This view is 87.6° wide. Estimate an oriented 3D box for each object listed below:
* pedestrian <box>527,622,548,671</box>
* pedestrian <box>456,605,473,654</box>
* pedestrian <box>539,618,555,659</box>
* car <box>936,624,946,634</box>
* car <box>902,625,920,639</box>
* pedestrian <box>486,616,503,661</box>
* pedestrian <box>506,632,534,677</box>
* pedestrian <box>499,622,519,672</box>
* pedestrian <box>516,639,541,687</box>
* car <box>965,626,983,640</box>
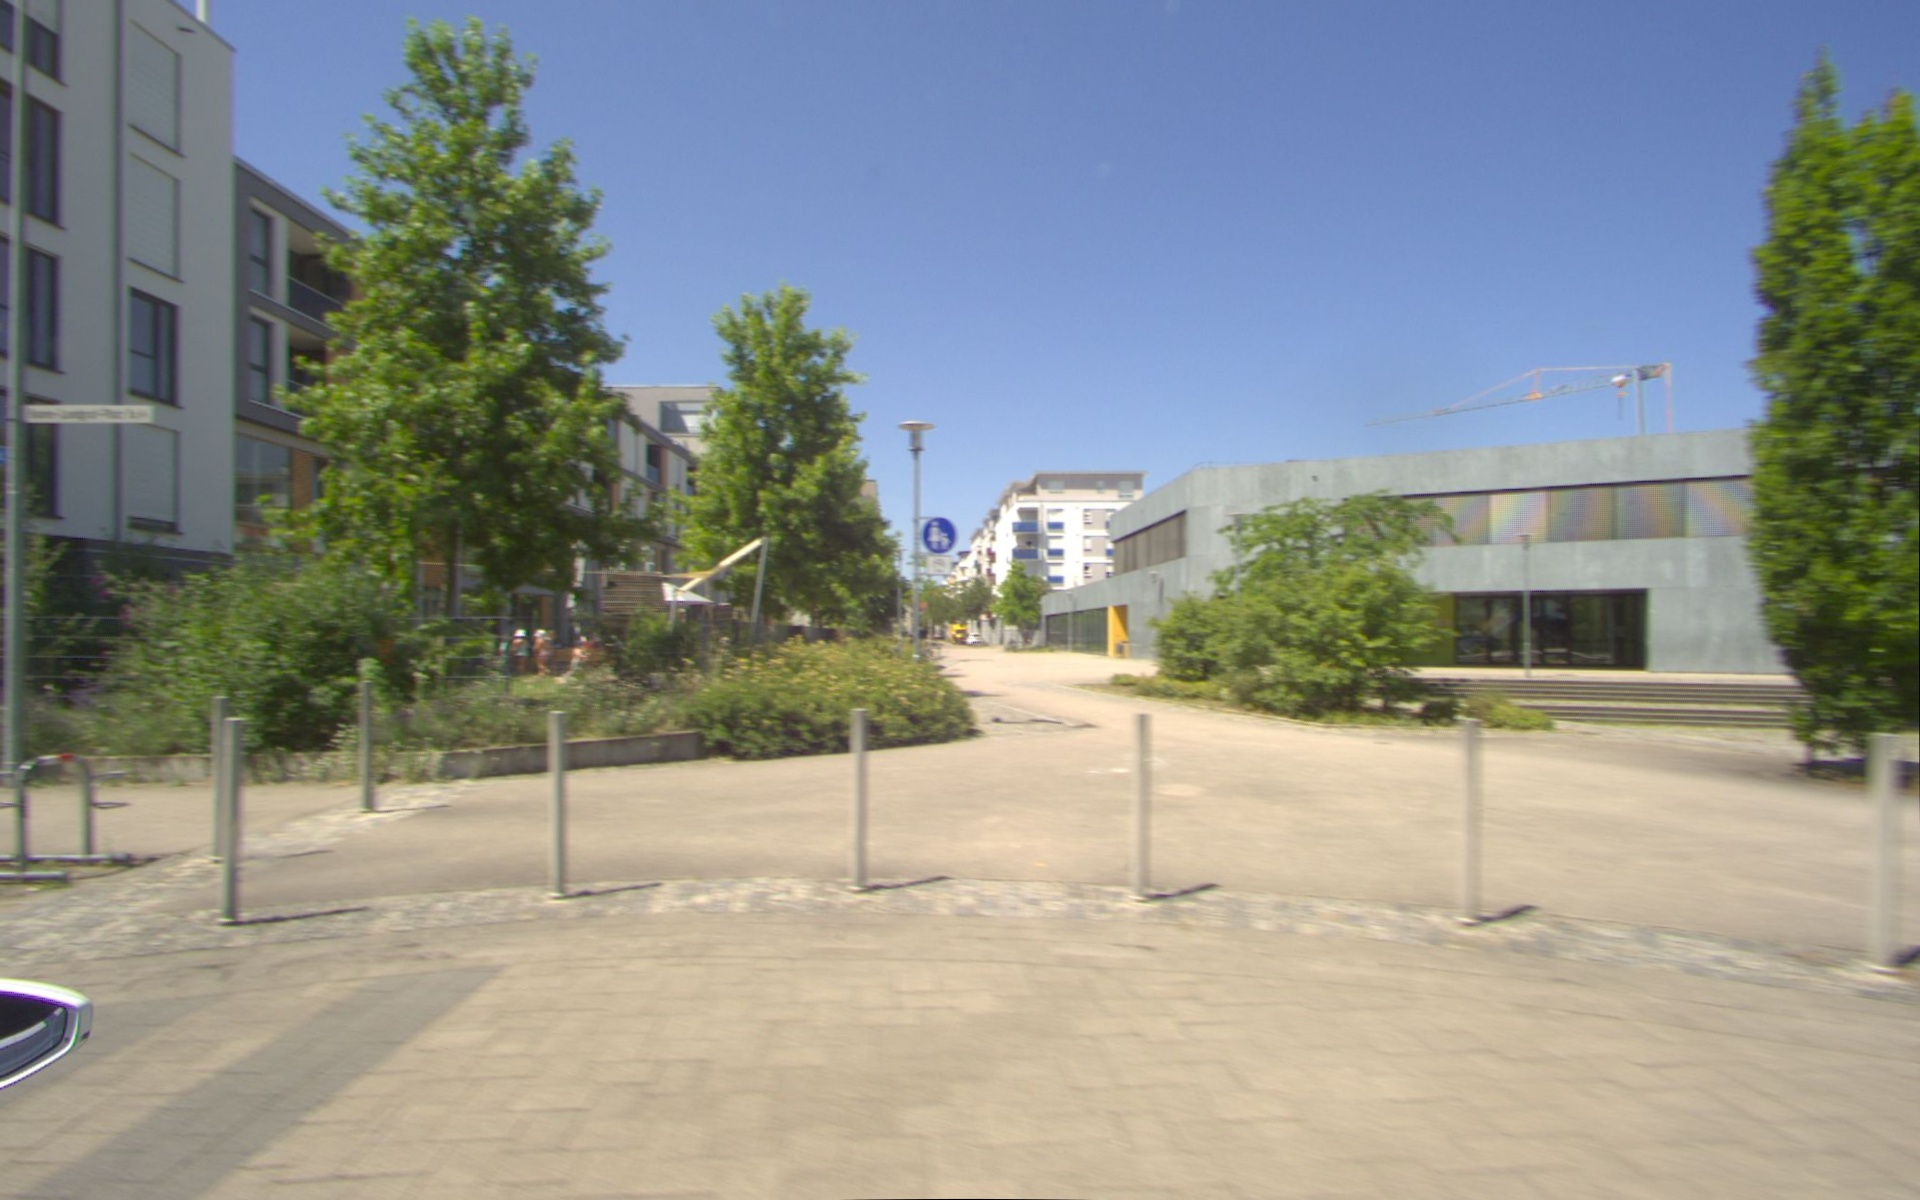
[{"bbox_3d":[-9.365,1.031,22.199,0.281,1.067,0.290,0,-1,19],"label":"pedestrian"},{"bbox_3d":[-17.480,1.052,35.327,0.389,1.712,0.463,1,-1,-7],"label":"pedestrian"},{"bbox_3d":[-15.561,1.449,37.753,0.457,1.527,0.394,2,-2,-35],"label":"pedestrian"},{"bbox_3d":[-3.997,6.168,212.982,1.961,2.039,4.001,1,-2,-4],"label":"car"},{"bbox_3d":[-6.121,4.031,125.807,2.111,1.673,4.090,1,-2,-2],"label":"car"},{"bbox_3d":[-15.753,1.304,33.897,0.392,1.527,0.459,2,-2,-41],"label":"pedestrian"},{"bbox_3d":[-9.841,1.213,22.389,0.364,0.998,0.410,-1,-2,27],"label":"pedestrian"},{"bbox_3d":[-9.739,1.006,21.626,0.286,1.067,0.288,-1,-2,43],"label":"pedestrian"},{"bbox_3d":[-9.448,1.385,21.940,0.278,1.037,0.410,-1,-2,33],"label":"pedestrian"},{"bbox_3d":[1.637,3.851,117.557,1.961,1.629,4.002,0,-2,-1],"label":"car"}]
